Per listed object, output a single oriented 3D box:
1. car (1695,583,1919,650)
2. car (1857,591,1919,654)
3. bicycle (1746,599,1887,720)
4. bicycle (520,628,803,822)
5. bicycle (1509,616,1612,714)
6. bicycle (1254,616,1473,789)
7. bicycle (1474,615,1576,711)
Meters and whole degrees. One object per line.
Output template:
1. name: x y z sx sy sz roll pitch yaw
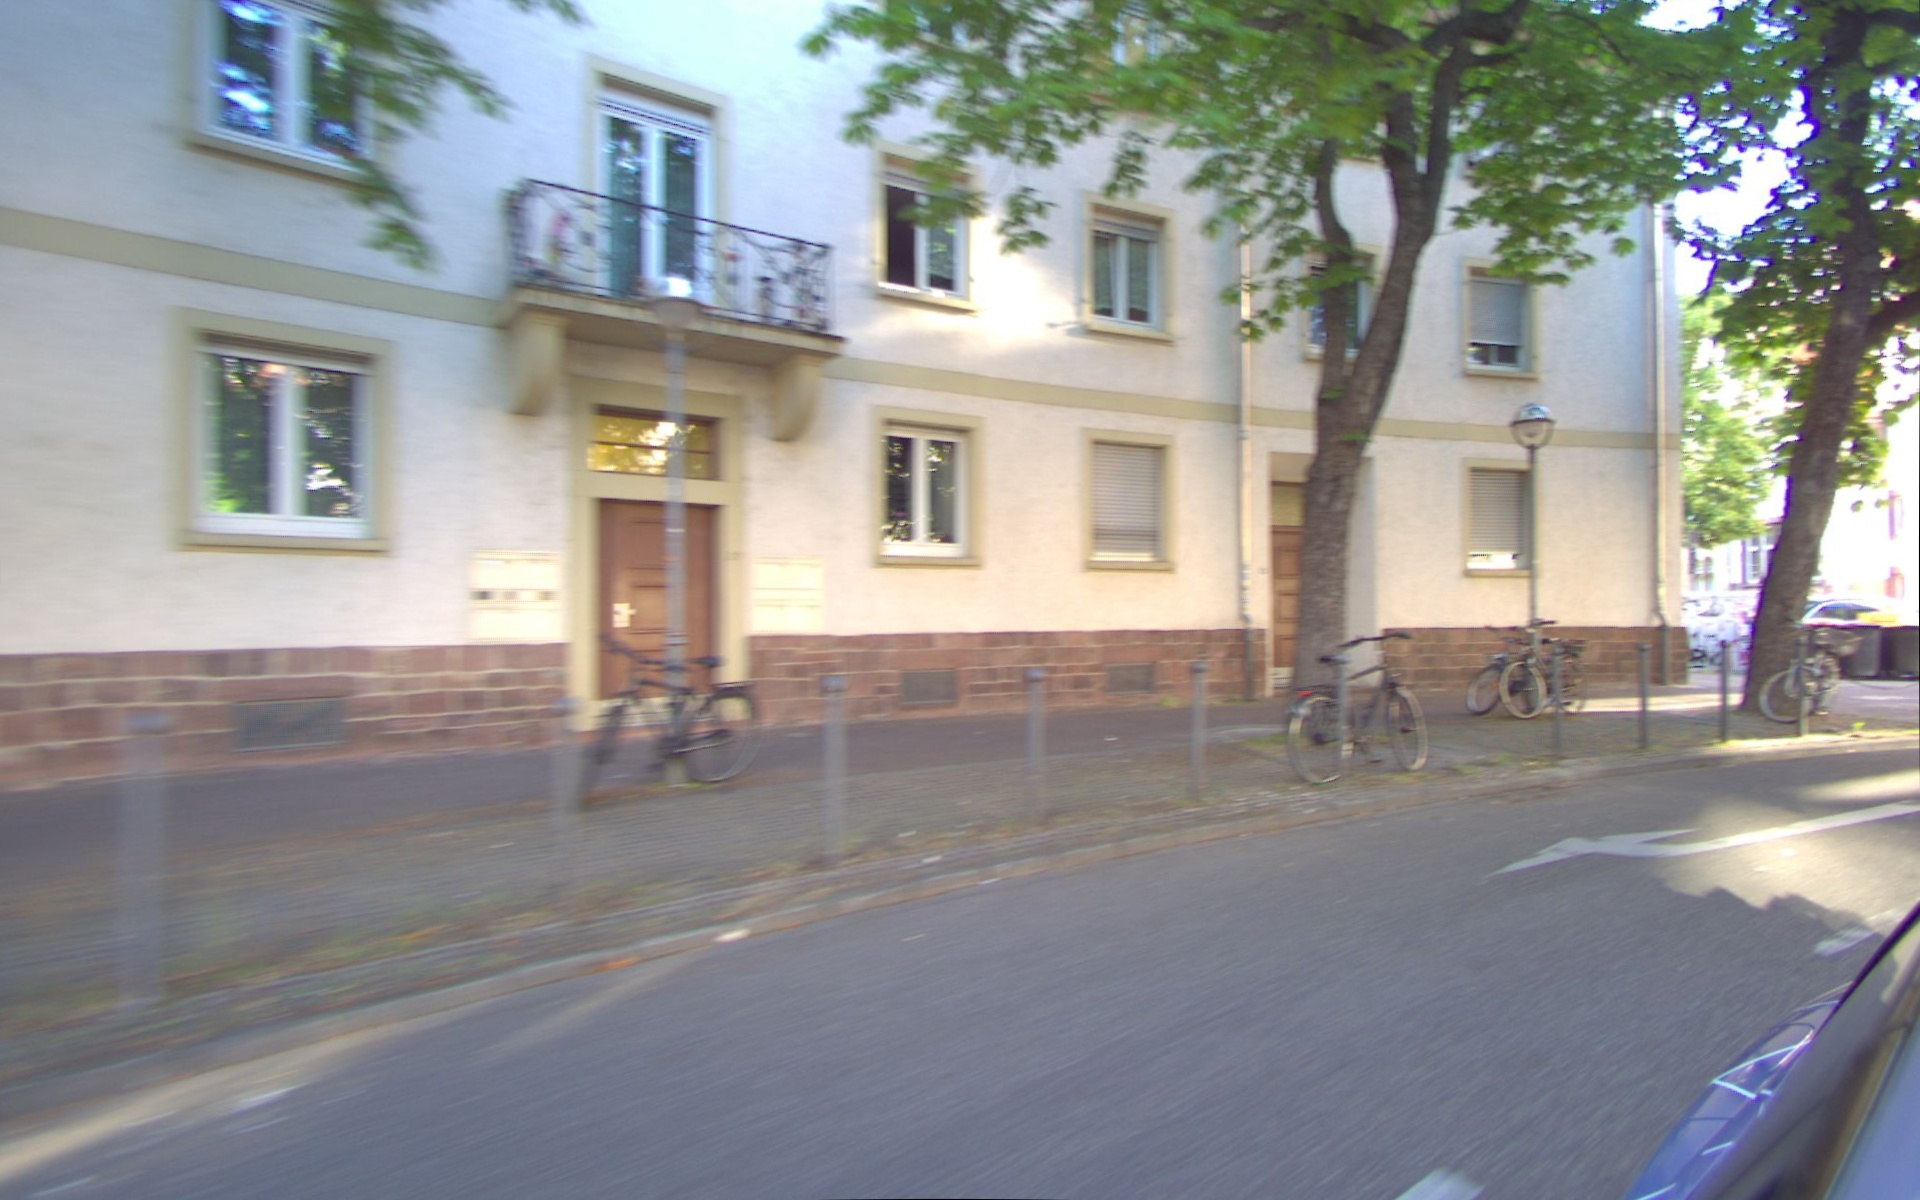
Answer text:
1. car: 19.450 0.391 23.237 3.740 1.443 1.672 -1 -1 8
2. car: 24.839 0.571 25.080 1.775 1.572 4.178 0 -1 6
3. bicycle: 10.126 0.659 11.949 1.866 1.321 0.768 0 -1 -34
4. bicycle: -2.029 0.784 7.135 0.797 1.133 1.835 -1 -1 34
5. bicycle: 7.261 0.756 12.216 1.604 1.108 0.335 0 -1 -32
6. bicycle: 3.299 0.759 8.215 1.877 1.238 0.720 0 -1 -34
7. bicycle: 6.981 0.753 12.480 1.604 1.108 0.335 0 -1 -32
